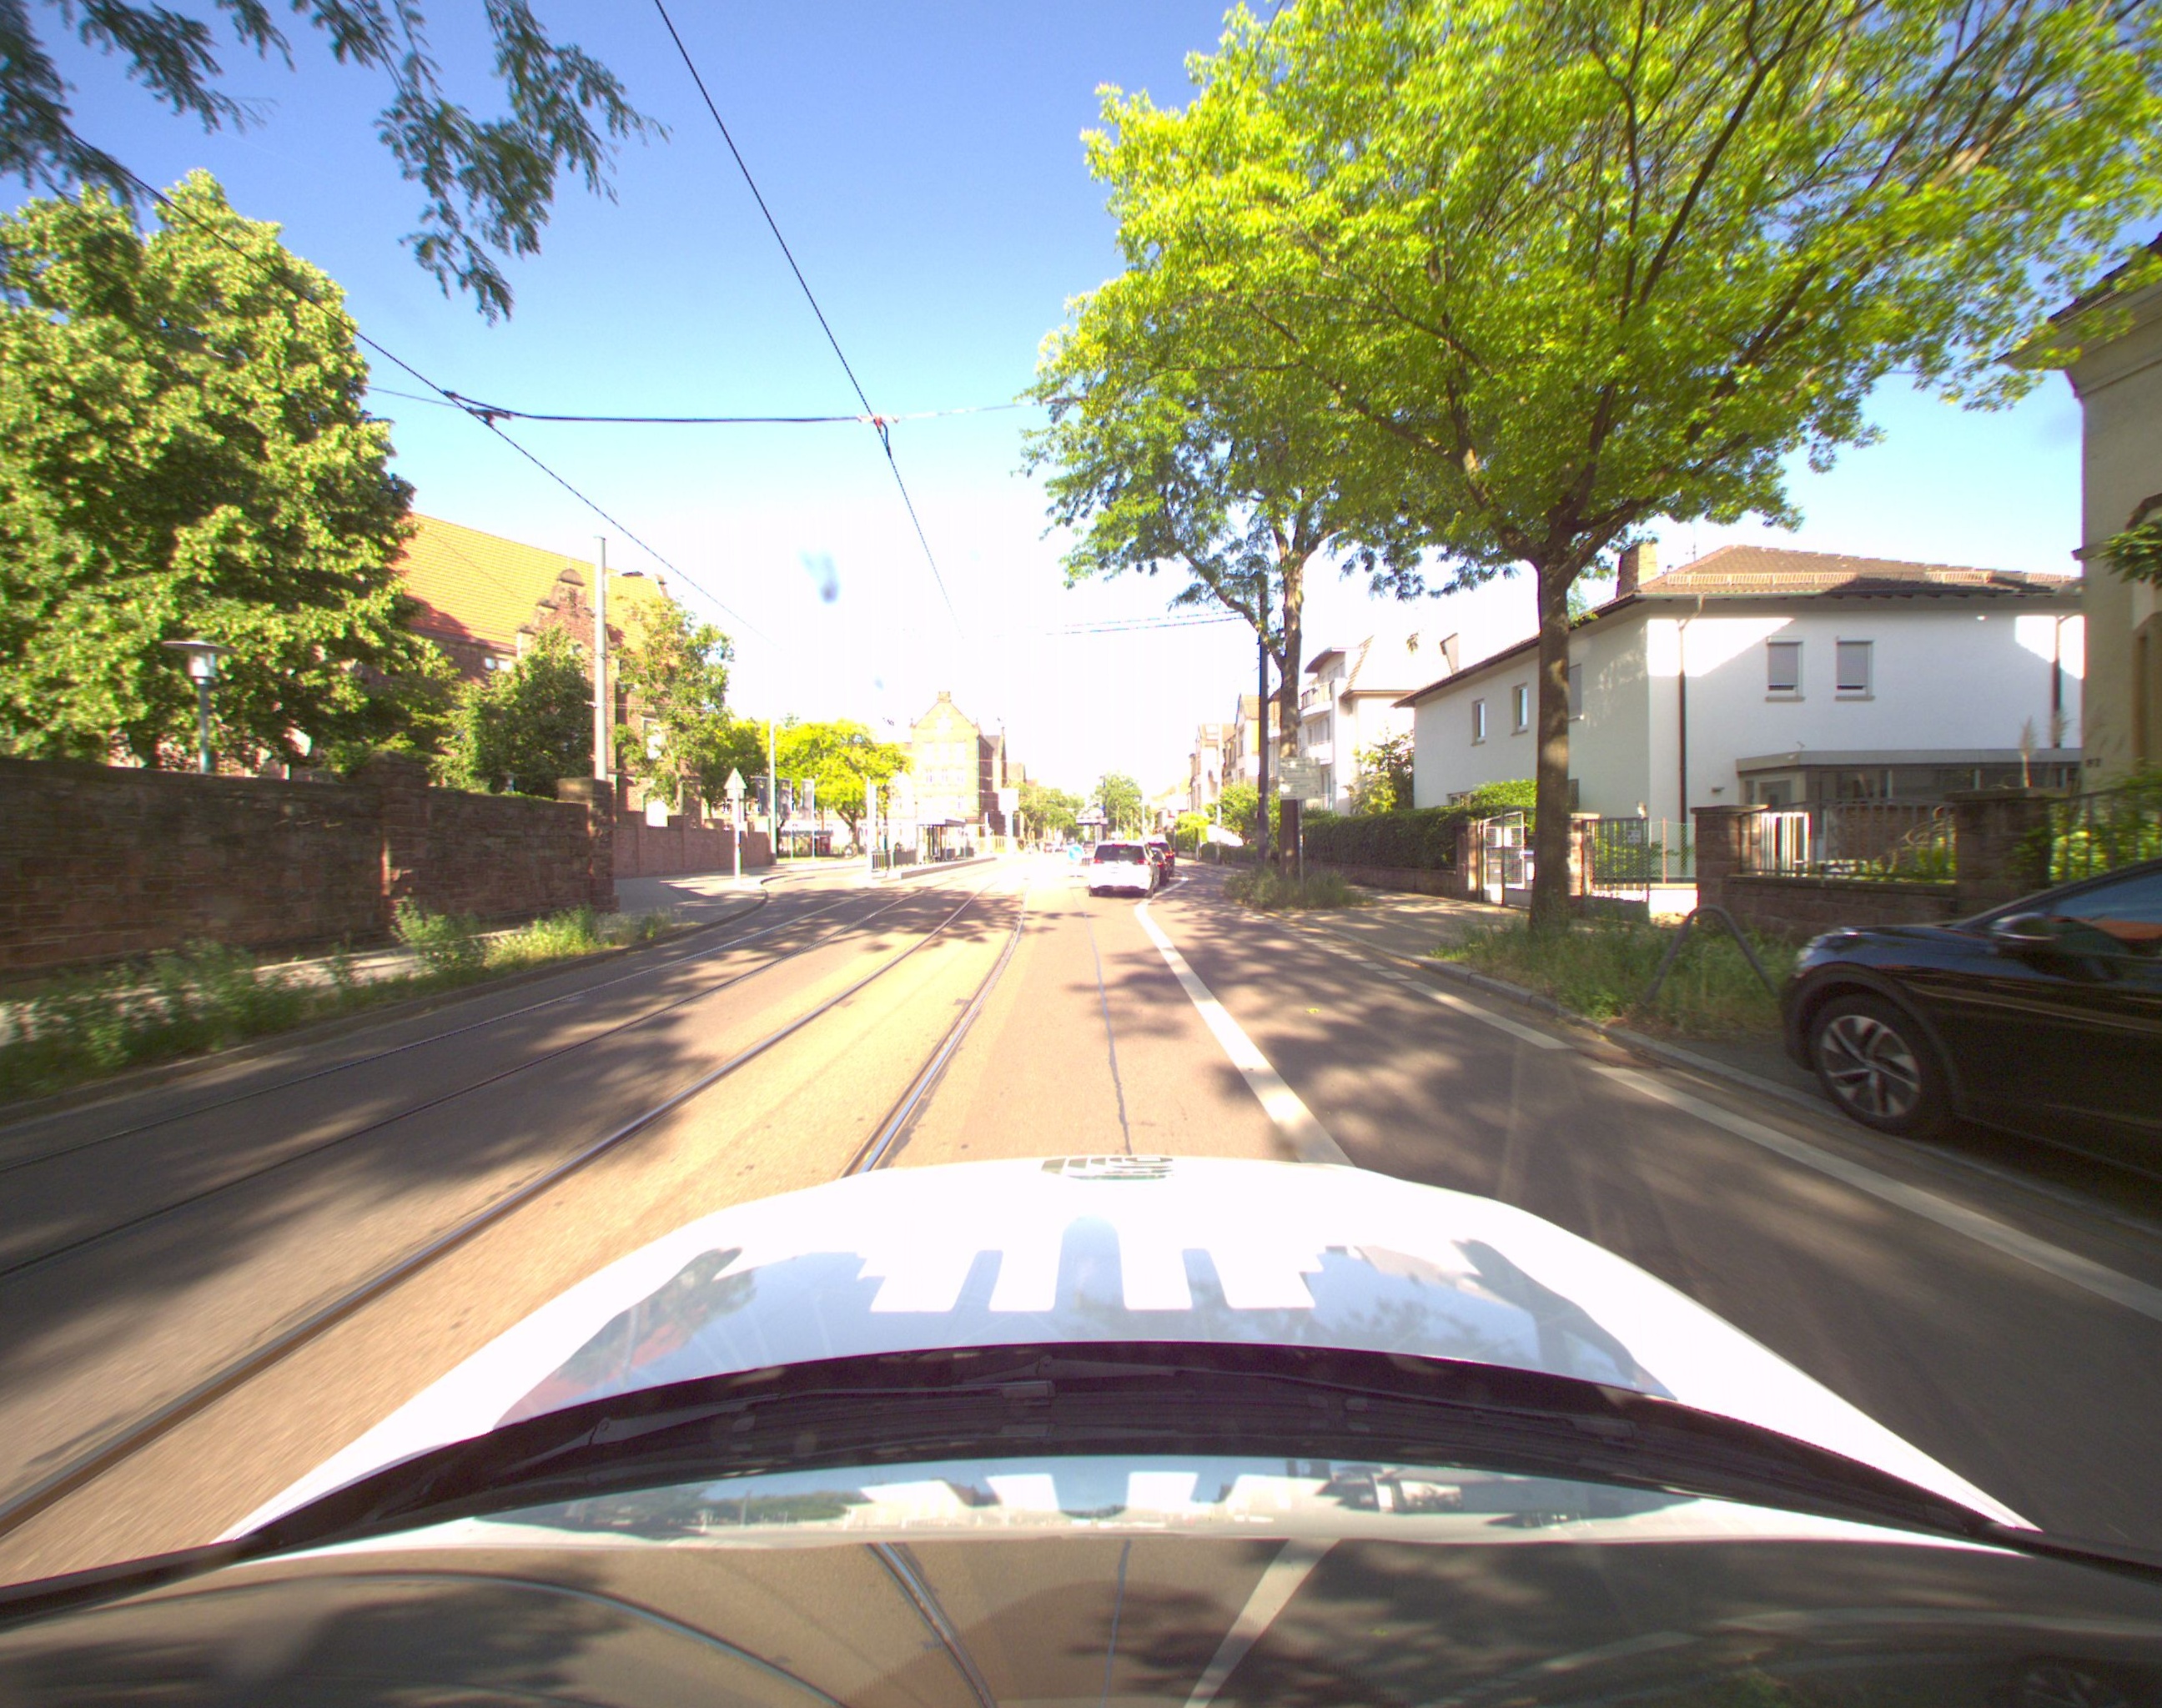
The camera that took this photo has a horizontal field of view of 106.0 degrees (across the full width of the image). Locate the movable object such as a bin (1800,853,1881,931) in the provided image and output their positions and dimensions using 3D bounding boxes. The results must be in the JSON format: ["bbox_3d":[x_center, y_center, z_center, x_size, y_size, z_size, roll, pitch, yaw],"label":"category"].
[{"bbox_3d":[10.686,0.519,11.480,0.649,1.047,0.651,0,1,22],"label":"movable object such as a bin"}]

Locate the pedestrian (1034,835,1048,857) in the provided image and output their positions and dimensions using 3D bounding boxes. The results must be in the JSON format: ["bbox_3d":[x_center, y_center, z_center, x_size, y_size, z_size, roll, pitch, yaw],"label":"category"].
[{"bbox_3d":[-3.844,-0.762,78.015,1.150,2.013,1.121,-1,1,4],"label":"pedestrian"}]

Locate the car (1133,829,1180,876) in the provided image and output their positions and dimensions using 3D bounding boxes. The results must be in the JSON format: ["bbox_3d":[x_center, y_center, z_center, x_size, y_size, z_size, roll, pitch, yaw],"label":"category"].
[{"bbox_3d":[3.501,-0.080,37.235,1.698,2.013,3.918,-1,1,11],"label":"car"}]

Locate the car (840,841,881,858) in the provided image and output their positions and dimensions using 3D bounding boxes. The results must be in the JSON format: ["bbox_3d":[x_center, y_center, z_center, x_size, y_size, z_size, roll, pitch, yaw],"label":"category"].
[{"bbox_3d":[-23.902,-0.503,88.406,3.978,1.789,1.998,-1,1,-4],"label":"car"}]

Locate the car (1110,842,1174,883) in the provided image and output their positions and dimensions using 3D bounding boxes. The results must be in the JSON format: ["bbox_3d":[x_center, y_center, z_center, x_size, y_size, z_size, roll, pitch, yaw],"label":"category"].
[{"bbox_3d":[2.401,0.289,31.139,1.981,1.442,4.012,-1,1,11],"label":"car"}]

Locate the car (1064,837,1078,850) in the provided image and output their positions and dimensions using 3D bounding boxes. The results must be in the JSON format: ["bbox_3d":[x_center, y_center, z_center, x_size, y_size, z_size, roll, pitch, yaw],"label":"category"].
[{"bbox_3d":[-1.486,-1.549,124.416,1.986,1.913,4.002,-1,0,2],"label":"car"}]

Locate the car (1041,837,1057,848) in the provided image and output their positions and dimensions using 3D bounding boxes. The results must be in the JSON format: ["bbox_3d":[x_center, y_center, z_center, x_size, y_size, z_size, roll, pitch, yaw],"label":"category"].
[{"bbox_3d":[-5.141,-1.809,131.086,1.984,1.722,4.007,-1,1,6],"label":"car"}]

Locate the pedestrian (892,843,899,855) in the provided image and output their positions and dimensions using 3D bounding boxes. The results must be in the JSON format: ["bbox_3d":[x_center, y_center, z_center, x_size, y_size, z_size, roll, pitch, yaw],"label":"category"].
[{"bbox_3d":[-18.524,-0.496,81.528,0.556,1.259,0.530,-1,1,0],"label":"pedestrian"}]

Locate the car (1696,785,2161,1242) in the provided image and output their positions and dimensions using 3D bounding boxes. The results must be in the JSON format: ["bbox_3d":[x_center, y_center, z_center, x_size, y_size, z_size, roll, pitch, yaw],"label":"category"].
[{"bbox_3d":[4.929,0.561,3.011,1.797,1.694,4.732,-4,1,2],"label":"car"}]

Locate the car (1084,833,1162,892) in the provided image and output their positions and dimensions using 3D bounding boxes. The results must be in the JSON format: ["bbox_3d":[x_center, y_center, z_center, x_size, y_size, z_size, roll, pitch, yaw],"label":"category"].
[{"bbox_3d":[1.351,0.276,24.512,1.881,1.611,4.239,-1,-1,9],"label":"car"}]
